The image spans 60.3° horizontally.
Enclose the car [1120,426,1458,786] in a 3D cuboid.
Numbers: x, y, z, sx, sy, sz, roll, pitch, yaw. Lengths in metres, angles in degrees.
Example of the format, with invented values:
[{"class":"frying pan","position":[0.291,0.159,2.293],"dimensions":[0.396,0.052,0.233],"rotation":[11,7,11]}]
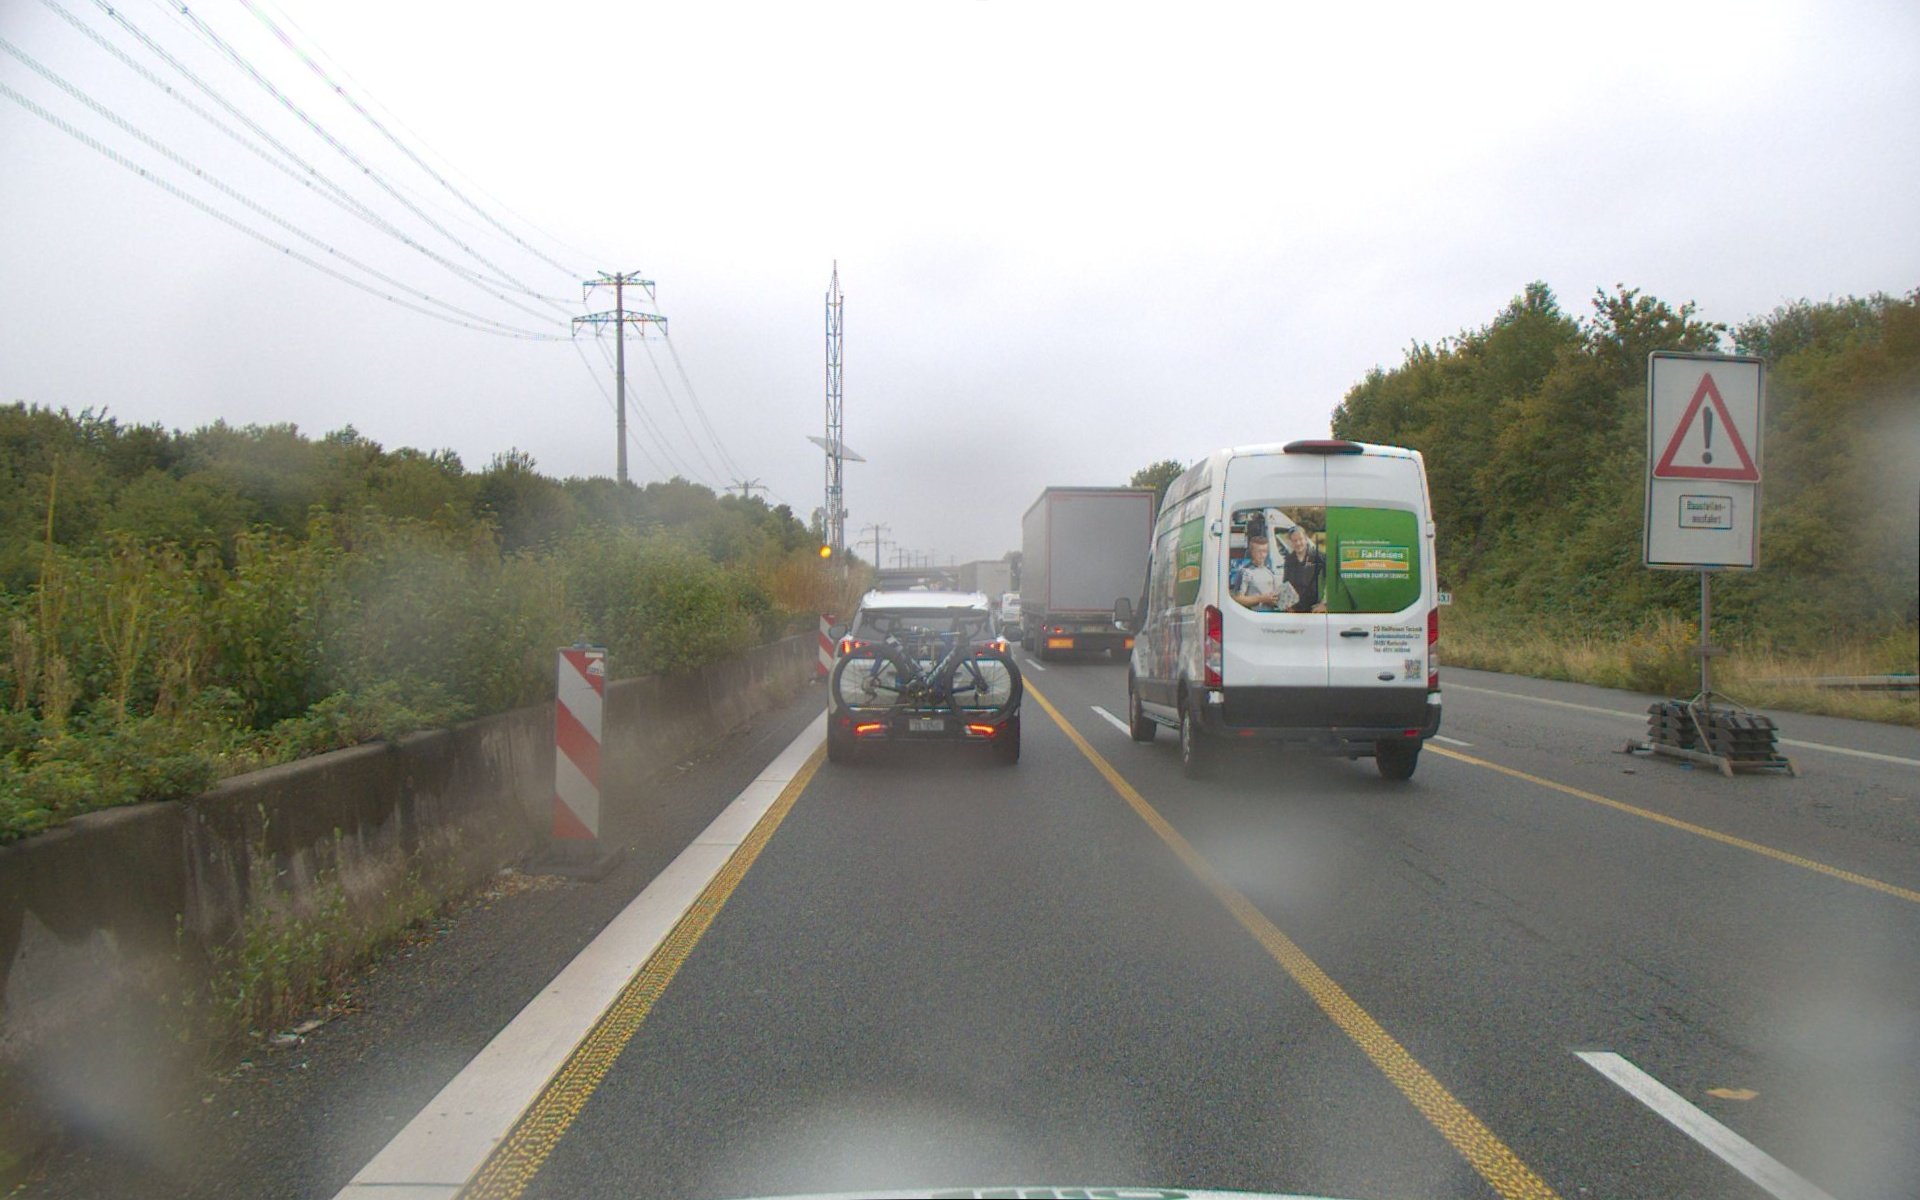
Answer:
[{"class":"car","position":[2.869,0.039,15.903],"dimensions":[1.953,2.831,5.754],"rotation":[0,0,-2]}]

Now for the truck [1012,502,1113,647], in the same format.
[{"class":"truck","position":[3.090,-0.756,51.110],"dimensions":[2.651,4.211,5.689],"rotation":[0,0,-1]}]

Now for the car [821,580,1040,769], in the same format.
[{"class":"car","position":[-0.280,0.619,16.123],"dimensions":[1.812,1.557,4.767],"rotation":[0,0,-1]}]

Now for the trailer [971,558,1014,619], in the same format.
[{"class":"trailer","position":[2.304,-0.810,120.701],"dimensions":[2.638,4.148,13.630],"rotation":[0,0,-1]}]

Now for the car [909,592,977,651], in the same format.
[{"class":"car","position":[-0.478,0.573,46.095],"dimensions":[1.812,1.557,3.999],"rotation":[0,0,-1]}]

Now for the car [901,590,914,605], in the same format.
[{"class":"car","position":[-7.840,-0.373,245.948],"dimensions":[1.892,2.008,4.000],"rotation":[0,1,-1]}]

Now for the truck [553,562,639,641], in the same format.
[{"class":"truck","position":[-16.350,0.068,74.704],"dimensions":[2.215,3.284,7.051],"rotation":[-3,0,-1]}]

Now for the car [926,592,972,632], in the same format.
[{"class":"car","position":[-0.476,0.477,67.424],"dimensions":[1.812,1.557,3.999],"rotation":[0,0,-1]}]

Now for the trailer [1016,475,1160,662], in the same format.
[{"class":"trailer","position":[3.123,-0.721,44.348],"dimensions":[2.651,4.219,13.730],"rotation":[0,0,-1]}]

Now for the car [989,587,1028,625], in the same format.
[{"class":"car","position":[2.449,0.302,84.776],"dimensions":[1.792,1.871,4.654],"rotation":[0,0,-1]}]
